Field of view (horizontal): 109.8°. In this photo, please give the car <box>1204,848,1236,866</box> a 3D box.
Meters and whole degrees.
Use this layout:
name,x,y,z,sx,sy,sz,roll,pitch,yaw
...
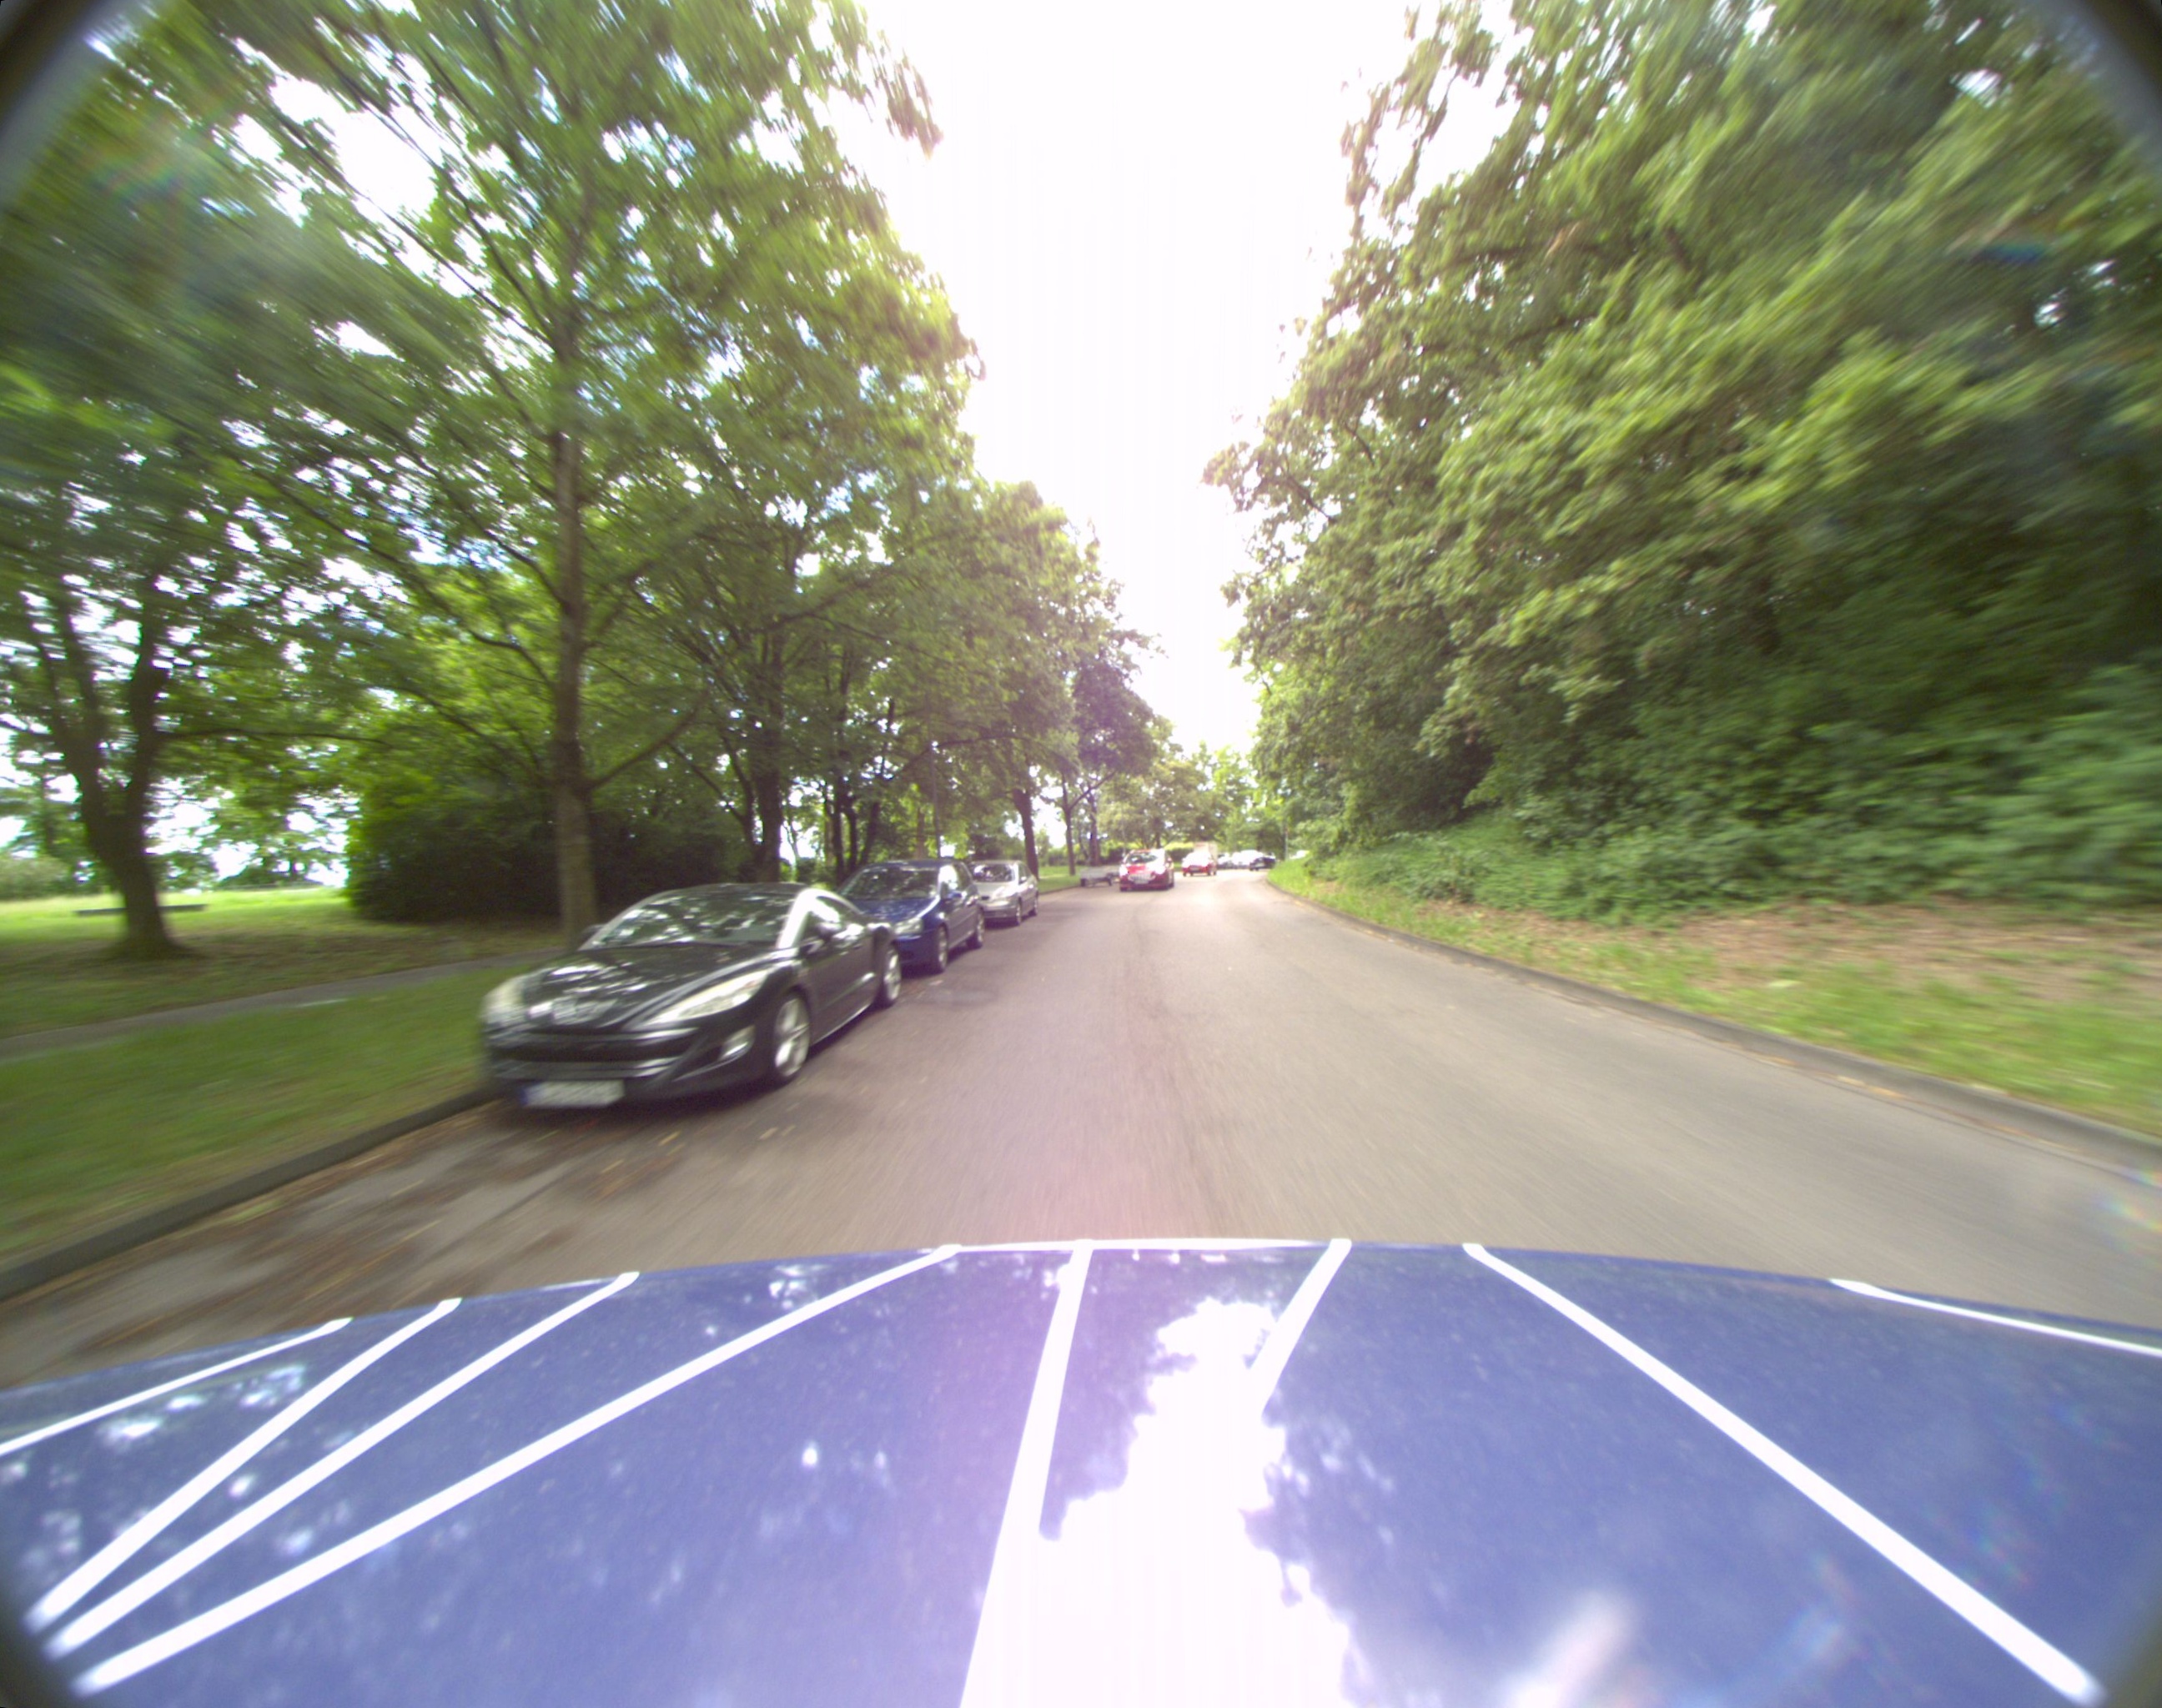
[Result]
name,x,y,z,sx,sy,sz,roll,pitch,yaw
car,12.667,0.216,69.130,1.742,1.516,4.643,-1,1,25

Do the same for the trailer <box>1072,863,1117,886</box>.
name,x,y,z,sx,sy,sz,roll,pitch,yaw
trailer,0.678,0.945,35.636,1.365,0.843,3.281,-4,1,14

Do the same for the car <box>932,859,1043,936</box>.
name,x,y,z,sx,sy,sz,roll,pitch,yaw
car,-2.021,0.910,17.536,1.721,1.423,3.949,-1,1,5

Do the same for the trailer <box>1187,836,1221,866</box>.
name,x,y,z,sx,sy,sz,roll,pitch,yaw
trailer,10.416,-0.233,64.148,1.762,2.413,3.893,-1,1,25

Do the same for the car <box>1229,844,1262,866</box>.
name,x,y,z,sx,sy,sz,roll,pitch,yaw
car,14.248,0.065,65.631,1.919,1.672,4.005,-1,2,24

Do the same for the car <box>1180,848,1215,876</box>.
name,x,y,z,sx,sy,sz,roll,pitch,yaw
car,7.388,0.469,47.872,1.865,1.441,4.177,1,4,13

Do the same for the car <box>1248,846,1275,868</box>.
name,x,y,z,sx,sy,sz,roll,pitch,yaw
car,13.404,0.191,56.224,1.793,1.381,4.495,-4,1,15

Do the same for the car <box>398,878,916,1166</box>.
name,x,y,z,sx,sy,sz,roll,pitch,yaw
car,-2.811,1.000,6.391,1.754,1.329,4.415,-2,1,1

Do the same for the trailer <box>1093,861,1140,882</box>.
name,x,y,z,sx,sy,sz,roll,pitch,yaw
trailer,1.940,0.899,40.273,1.359,0.963,3.898,-3,-1,19

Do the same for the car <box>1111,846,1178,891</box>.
name,x,y,z,sx,sy,sz,roll,pitch,yaw
car,2.671,0.536,30.874,1.997,1.619,4.630,-3,0,13

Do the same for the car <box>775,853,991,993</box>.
name,x,y,z,sx,sy,sz,roll,pitch,yaw
car,-2.618,0.832,11.158,1.718,1.501,4.181,-4,1,4

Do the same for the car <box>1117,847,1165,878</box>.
name,x,y,z,sx,sy,sz,roll,pitch,yaw
car,3.686,0.456,46.121,1.778,1.653,4.846,-3,0,17
